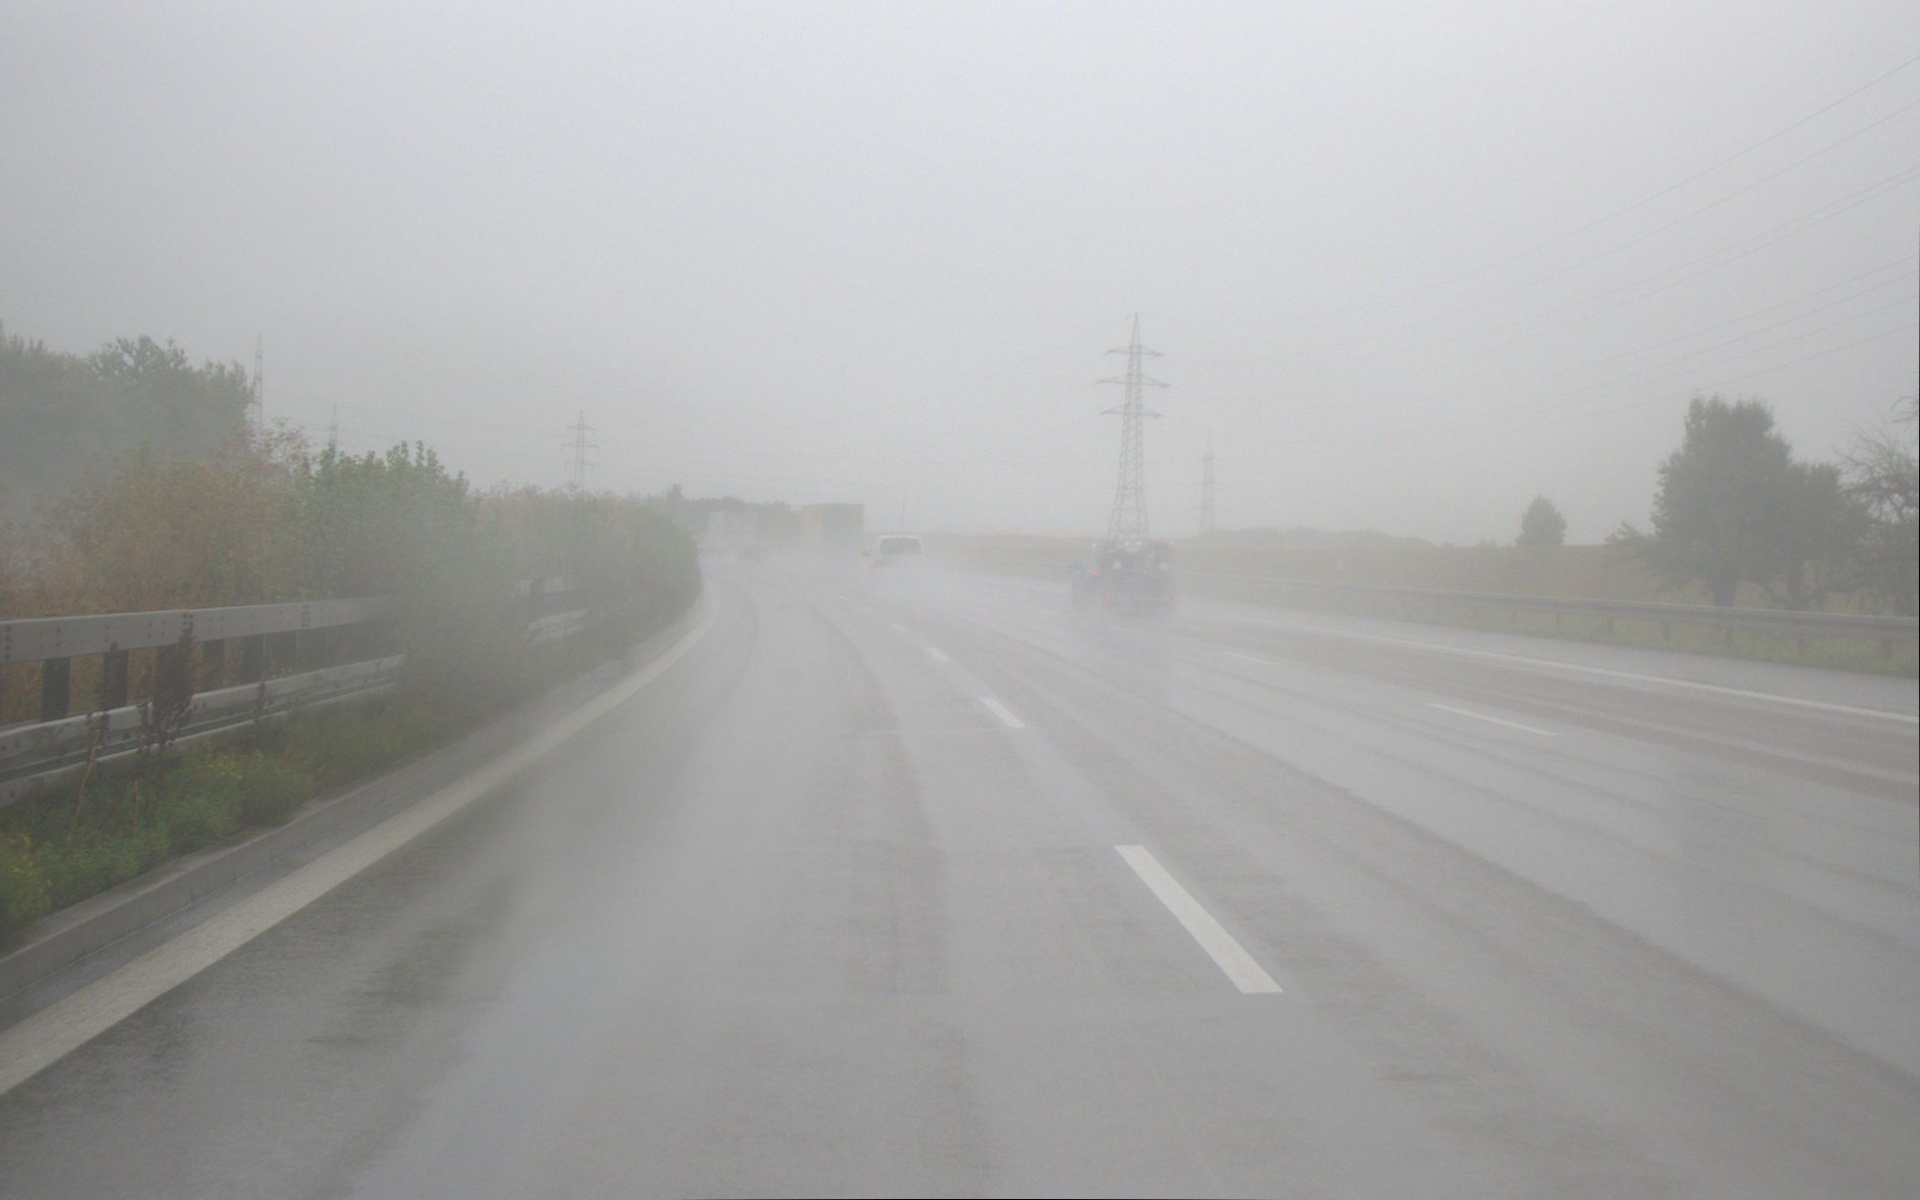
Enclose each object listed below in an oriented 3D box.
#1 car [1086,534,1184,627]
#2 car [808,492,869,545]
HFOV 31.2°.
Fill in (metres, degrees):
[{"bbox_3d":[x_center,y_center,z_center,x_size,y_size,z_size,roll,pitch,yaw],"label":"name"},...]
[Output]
[{"bbox_3d":[4.150,-0.491,82.046,1.806,2.151,4.001,1,1,-5],"label":"car"},{"bbox_3d":[-7.583,-5.023,213.565,3.199,3.182,7.258,1,1,-6],"label":"car"}]
